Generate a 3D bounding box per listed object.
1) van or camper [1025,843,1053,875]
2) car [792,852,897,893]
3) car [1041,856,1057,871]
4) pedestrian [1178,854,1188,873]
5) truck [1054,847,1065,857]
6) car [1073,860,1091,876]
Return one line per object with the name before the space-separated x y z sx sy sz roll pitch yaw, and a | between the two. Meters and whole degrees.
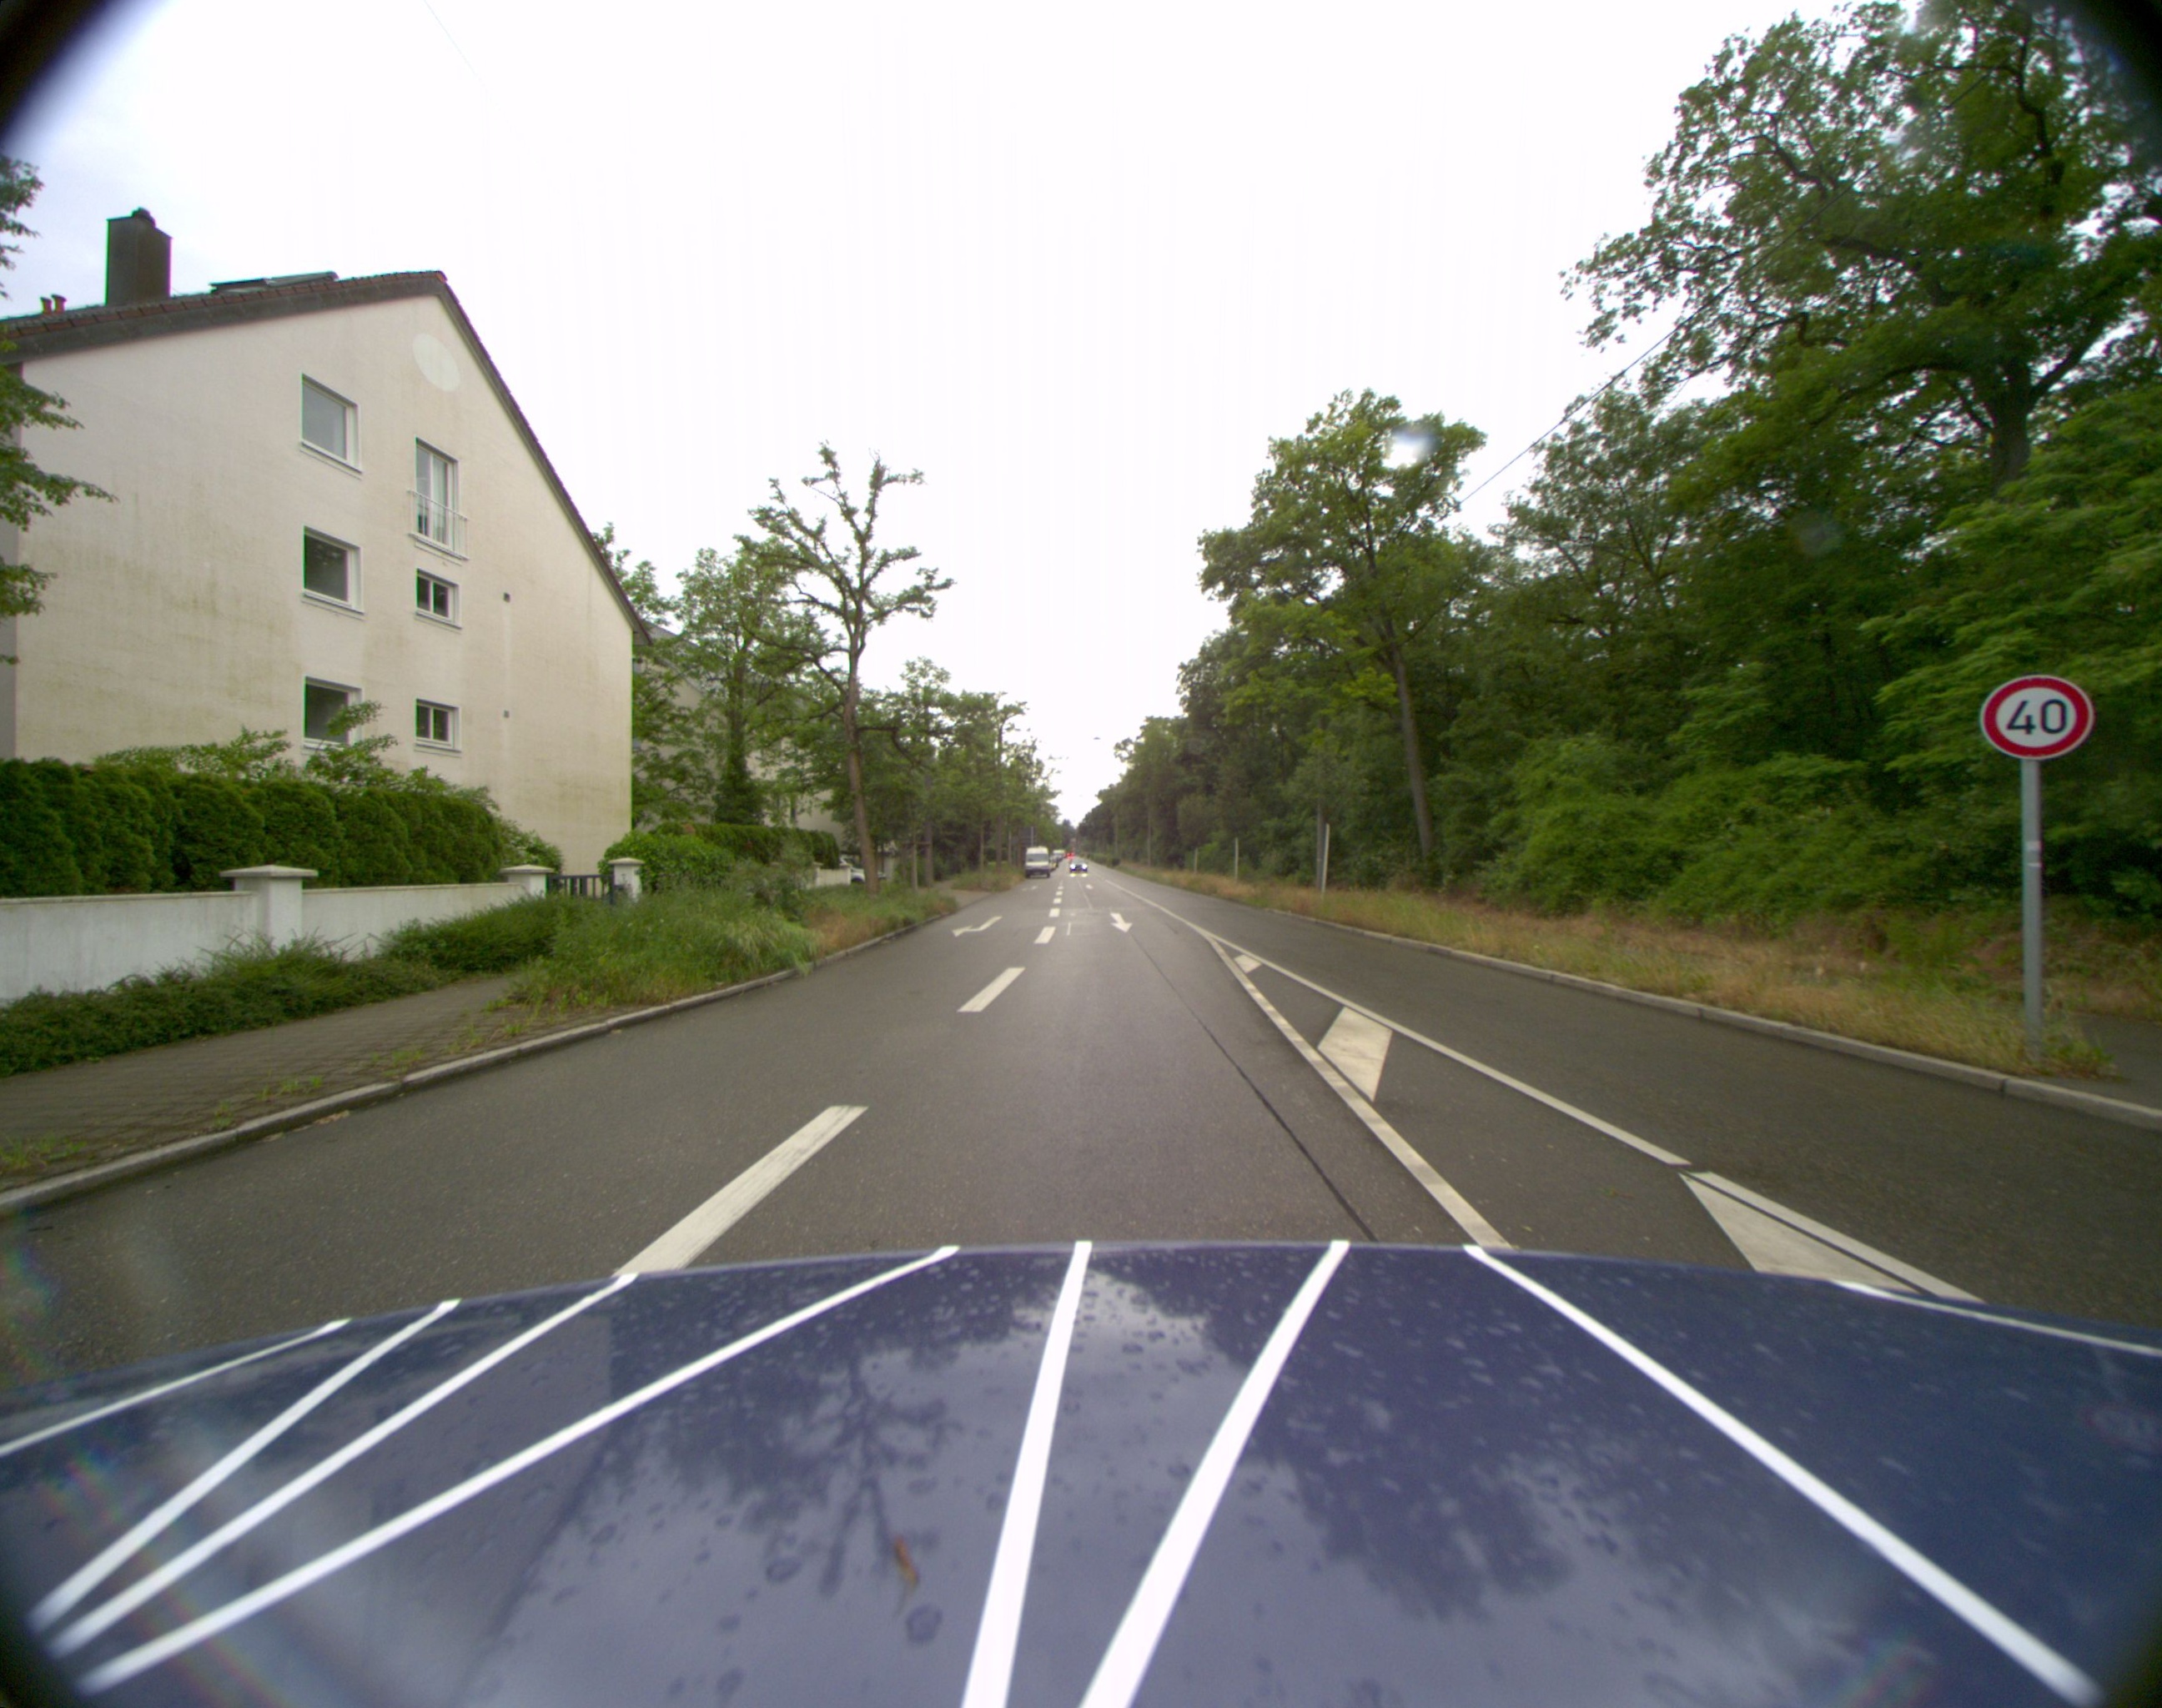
van or camper | -3.441 0.418 63.493 2.042 2.465 5.637 -3 0 -1
car | -11.170 0.854 35.982 4.312 1.807 1.875 -1 0 10
car | -3.402 0.971 81.619 1.576 1.463 3.764 -2 0 -1
pedestrian | 8.604 0.770 64.075 0.783 1.598 0.732 0 1 -2
truck | -4.888 -0.430 172.337 2.230 2.322 5.112 1 1 -2
car | 0.088 1.436 77.760 1.622 1.459 4.409 -2 0 -2
